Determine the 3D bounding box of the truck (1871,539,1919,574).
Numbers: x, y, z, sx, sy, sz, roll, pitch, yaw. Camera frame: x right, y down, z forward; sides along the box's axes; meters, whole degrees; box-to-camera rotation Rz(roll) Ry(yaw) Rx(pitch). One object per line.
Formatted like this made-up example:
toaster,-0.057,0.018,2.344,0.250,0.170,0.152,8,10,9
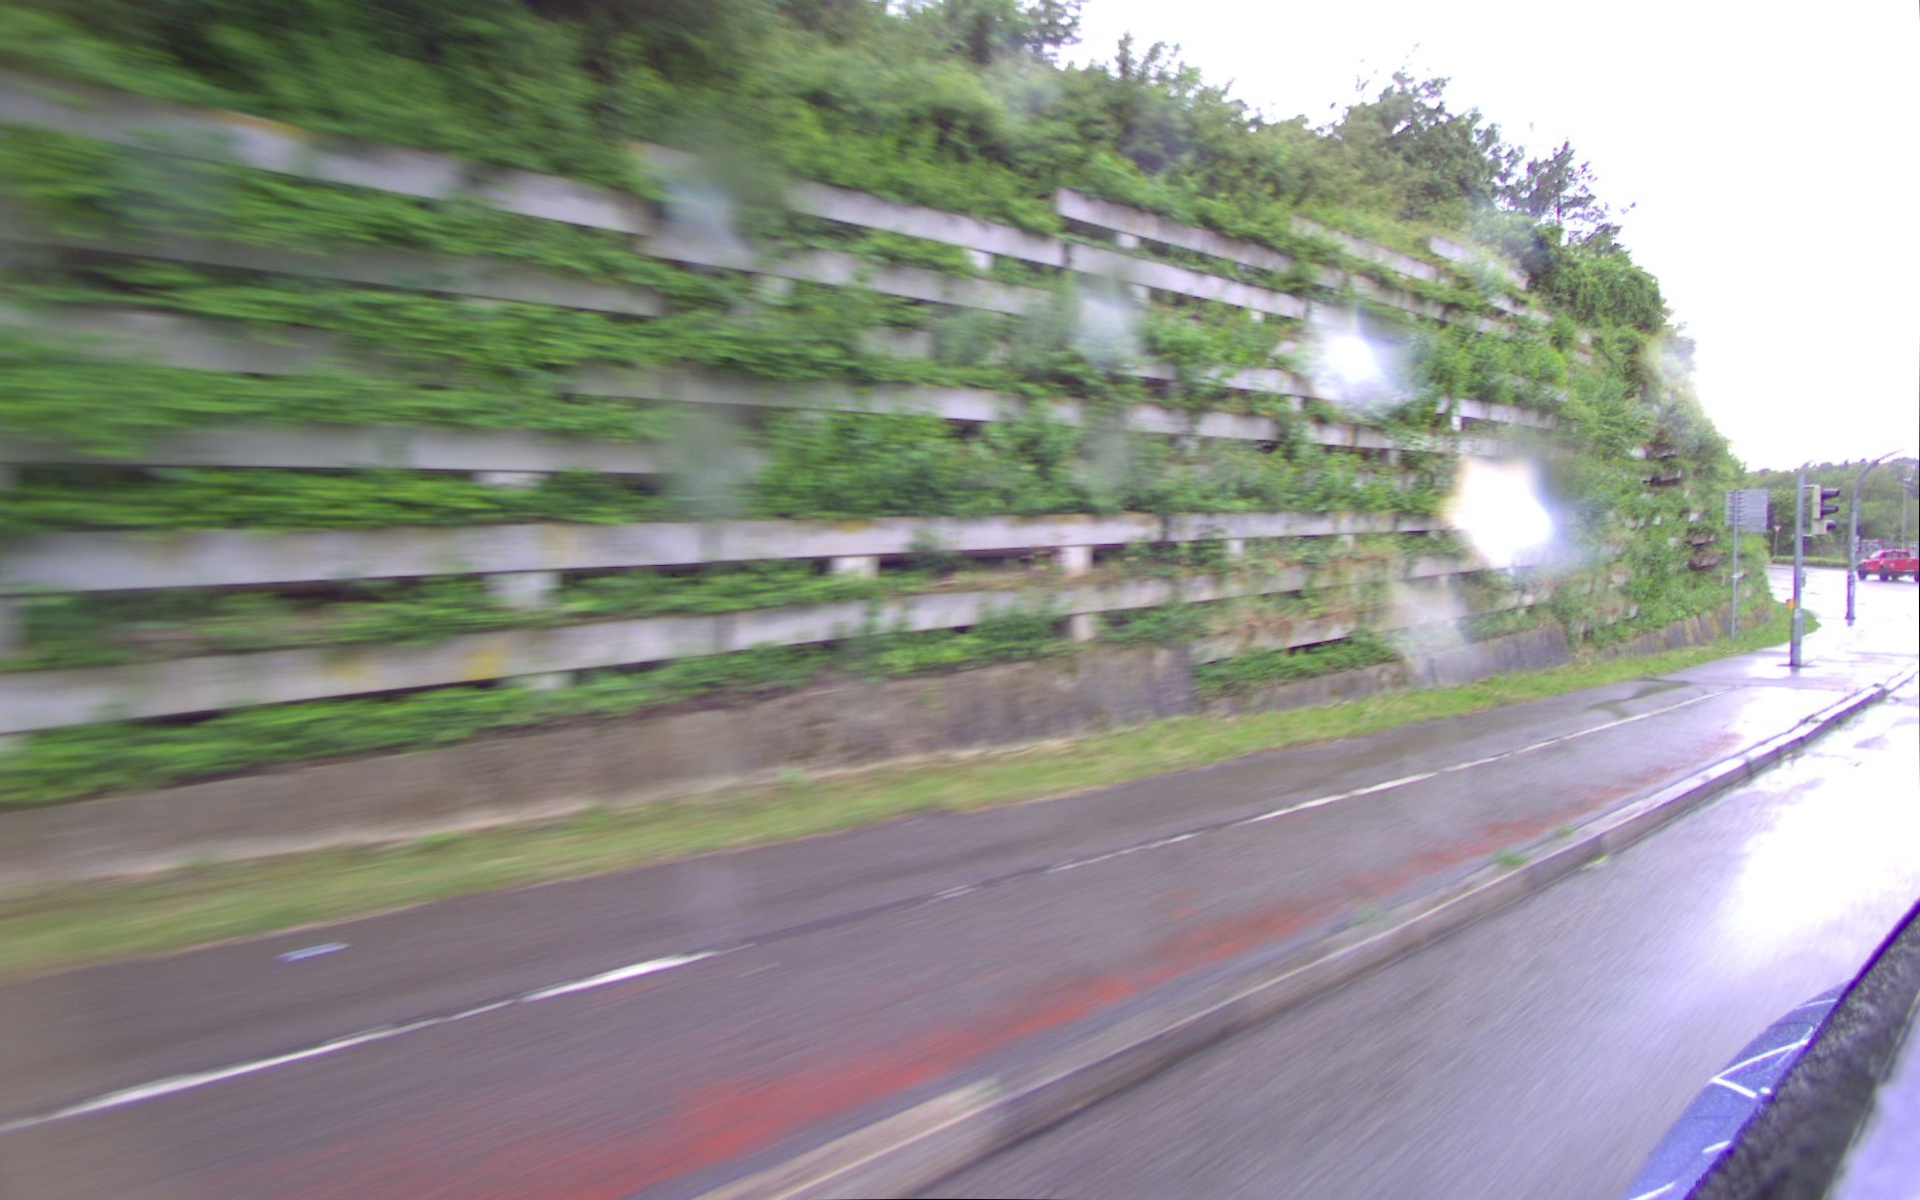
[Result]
truck,58.428,-2.713,62.539,1.982,2.038,5.286,-1,2,29
